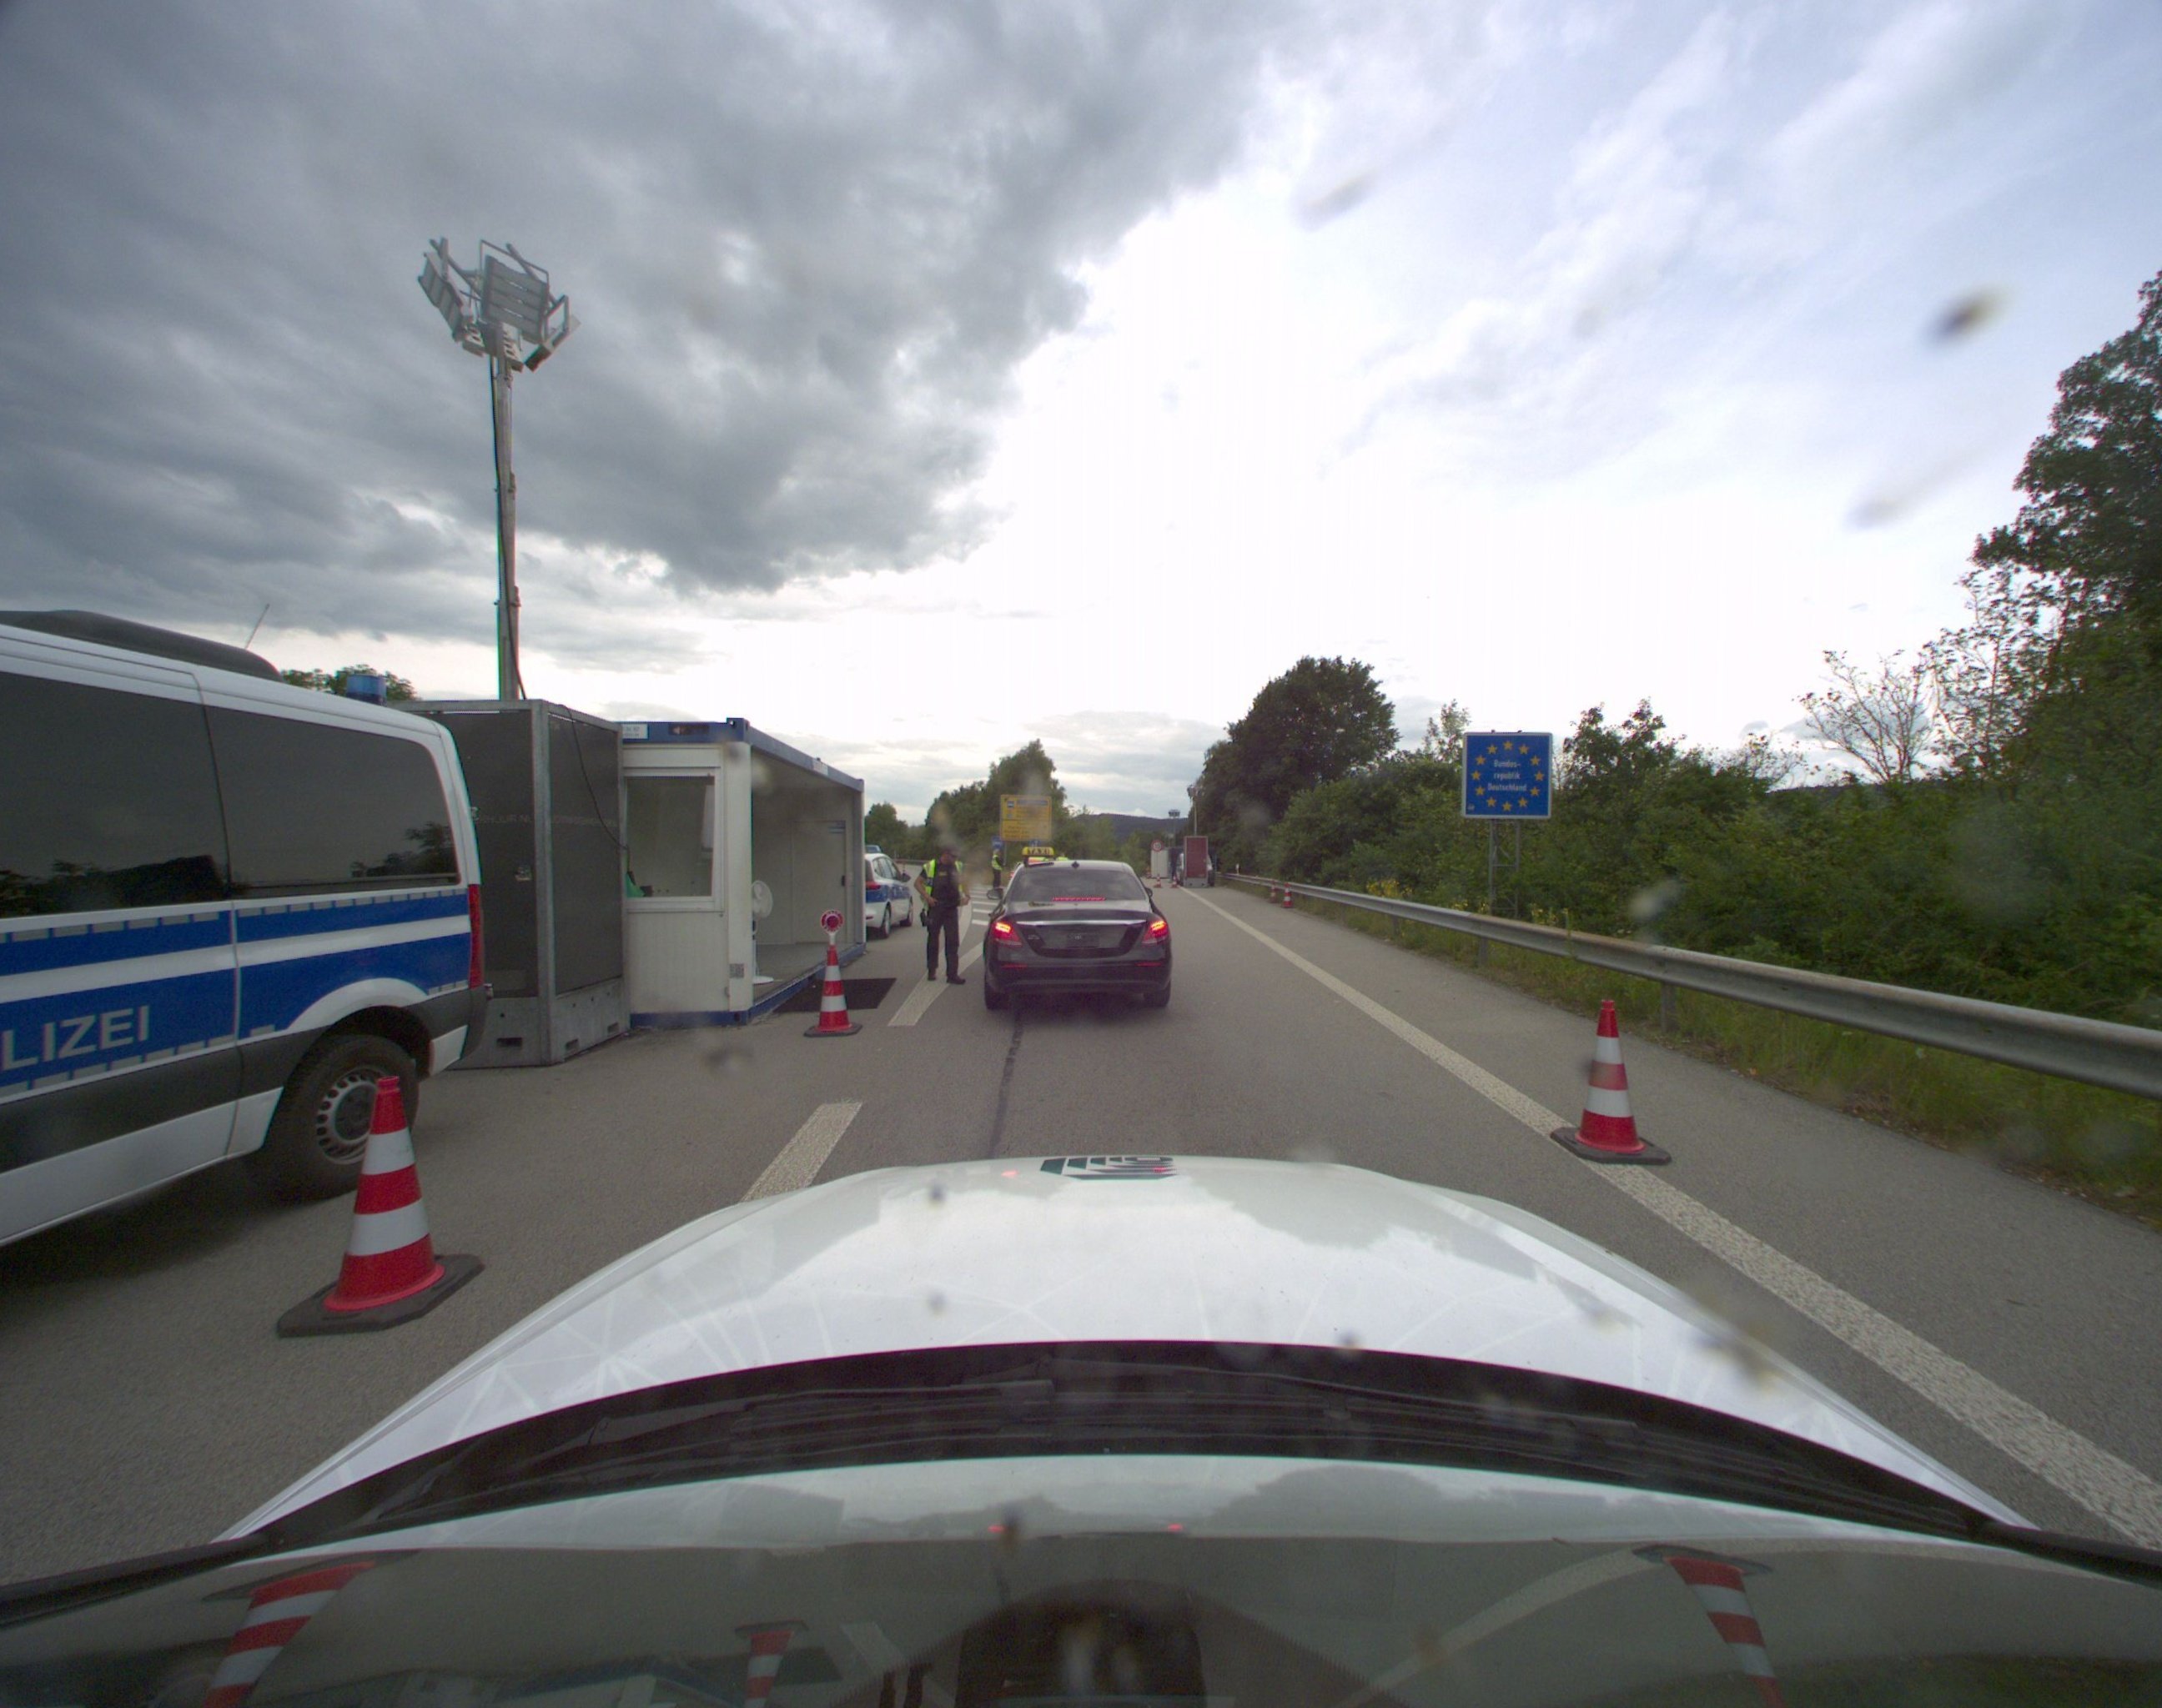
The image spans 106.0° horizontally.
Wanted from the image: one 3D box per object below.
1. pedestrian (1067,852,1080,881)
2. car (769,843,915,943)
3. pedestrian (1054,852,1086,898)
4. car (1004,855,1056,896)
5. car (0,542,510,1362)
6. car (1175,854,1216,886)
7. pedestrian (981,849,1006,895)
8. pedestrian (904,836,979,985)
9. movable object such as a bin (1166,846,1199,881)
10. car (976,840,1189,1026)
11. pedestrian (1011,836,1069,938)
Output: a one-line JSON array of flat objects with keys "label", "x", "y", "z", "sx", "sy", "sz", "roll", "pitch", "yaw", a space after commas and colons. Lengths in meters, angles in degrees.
[{"label": "pedestrian", "x": -0.534, "y": 0.838, "z": 55.548, "sx": 0.659, "sy": 1.961, "sz": 0.763, "roll": -1, "pitch": -1, "yaw": 17}, {"label": "car", "x": -4.622, "y": 0.691, "z": 16.347, "sx": 1.864, "sy": 1.743, "sz": 4.004, "roll": -1, "pitch": 0, "yaw": -2}, {"label": "pedestrian", "x": -0.419, "y": 0.797, "z": 30.812, "sx": 0.914, "sy": 1.698, "sz": 0.905, "roll": 0, "pitch": -1, "yaw": -30}, {"label": "car", "x": -1.949, "y": 0.804, "z": 32.205, "sx": 1.850, "sy": 1.498, "sz": 4.254, "roll": -1, "pitch": 0, "yaw": -1}, {"label": "car", "x": -4.251, "y": 0.299, "z": 2.042, "sx": 2.024, "sy": 2.463, "sz": 5.275, "roll": -1, "pitch": 0, "yaw": -2}, {"label": "car", "x": 6.541, "y": 0.888, "z": 47.064, "sx": 1.908, "sy": 1.678, "sz": 5.087, "roll": 1, "pitch": 0, "yaw": 3}, {"label": "pedestrian", "x": -3.406, "y": 0.703, "z": 31.813, "sx": 0.908, "sy": 1.769, "sz": 0.911, "roll": 0, "pitch": 0, "yaw": -2}, {"label": "pedestrian", "x": -1.718, "y": 0.655, "z": 9.955, "sx": 0.762, "sy": 1.718, "sz": 0.812, "roll": -1, "pitch": -1, "yaw": -19}, {"label": "movable object such as a bin", "x": 6.939, "y": 0.612, "z": 55.906, "sx": 1.985, "sy": 2.280, "sz": 4.172, "roll": 0, "pitch": 0, "yaw": 4}, {"label": "car", "x": -0.091, "y": 0.686, "z": 9.311, "sx": 1.851, "sy": 1.595, "sz": 4.370, "roll": -1, "pitch": 0, "yaw": -3}, {"label": "pedestrian", "x": -0.757, "y": 0.602, "z": 15.243, "sx": 0.806, "sy": 1.830, "sz": 0.813, "roll": -1, "pitch": -1, "yaw": 18}]
